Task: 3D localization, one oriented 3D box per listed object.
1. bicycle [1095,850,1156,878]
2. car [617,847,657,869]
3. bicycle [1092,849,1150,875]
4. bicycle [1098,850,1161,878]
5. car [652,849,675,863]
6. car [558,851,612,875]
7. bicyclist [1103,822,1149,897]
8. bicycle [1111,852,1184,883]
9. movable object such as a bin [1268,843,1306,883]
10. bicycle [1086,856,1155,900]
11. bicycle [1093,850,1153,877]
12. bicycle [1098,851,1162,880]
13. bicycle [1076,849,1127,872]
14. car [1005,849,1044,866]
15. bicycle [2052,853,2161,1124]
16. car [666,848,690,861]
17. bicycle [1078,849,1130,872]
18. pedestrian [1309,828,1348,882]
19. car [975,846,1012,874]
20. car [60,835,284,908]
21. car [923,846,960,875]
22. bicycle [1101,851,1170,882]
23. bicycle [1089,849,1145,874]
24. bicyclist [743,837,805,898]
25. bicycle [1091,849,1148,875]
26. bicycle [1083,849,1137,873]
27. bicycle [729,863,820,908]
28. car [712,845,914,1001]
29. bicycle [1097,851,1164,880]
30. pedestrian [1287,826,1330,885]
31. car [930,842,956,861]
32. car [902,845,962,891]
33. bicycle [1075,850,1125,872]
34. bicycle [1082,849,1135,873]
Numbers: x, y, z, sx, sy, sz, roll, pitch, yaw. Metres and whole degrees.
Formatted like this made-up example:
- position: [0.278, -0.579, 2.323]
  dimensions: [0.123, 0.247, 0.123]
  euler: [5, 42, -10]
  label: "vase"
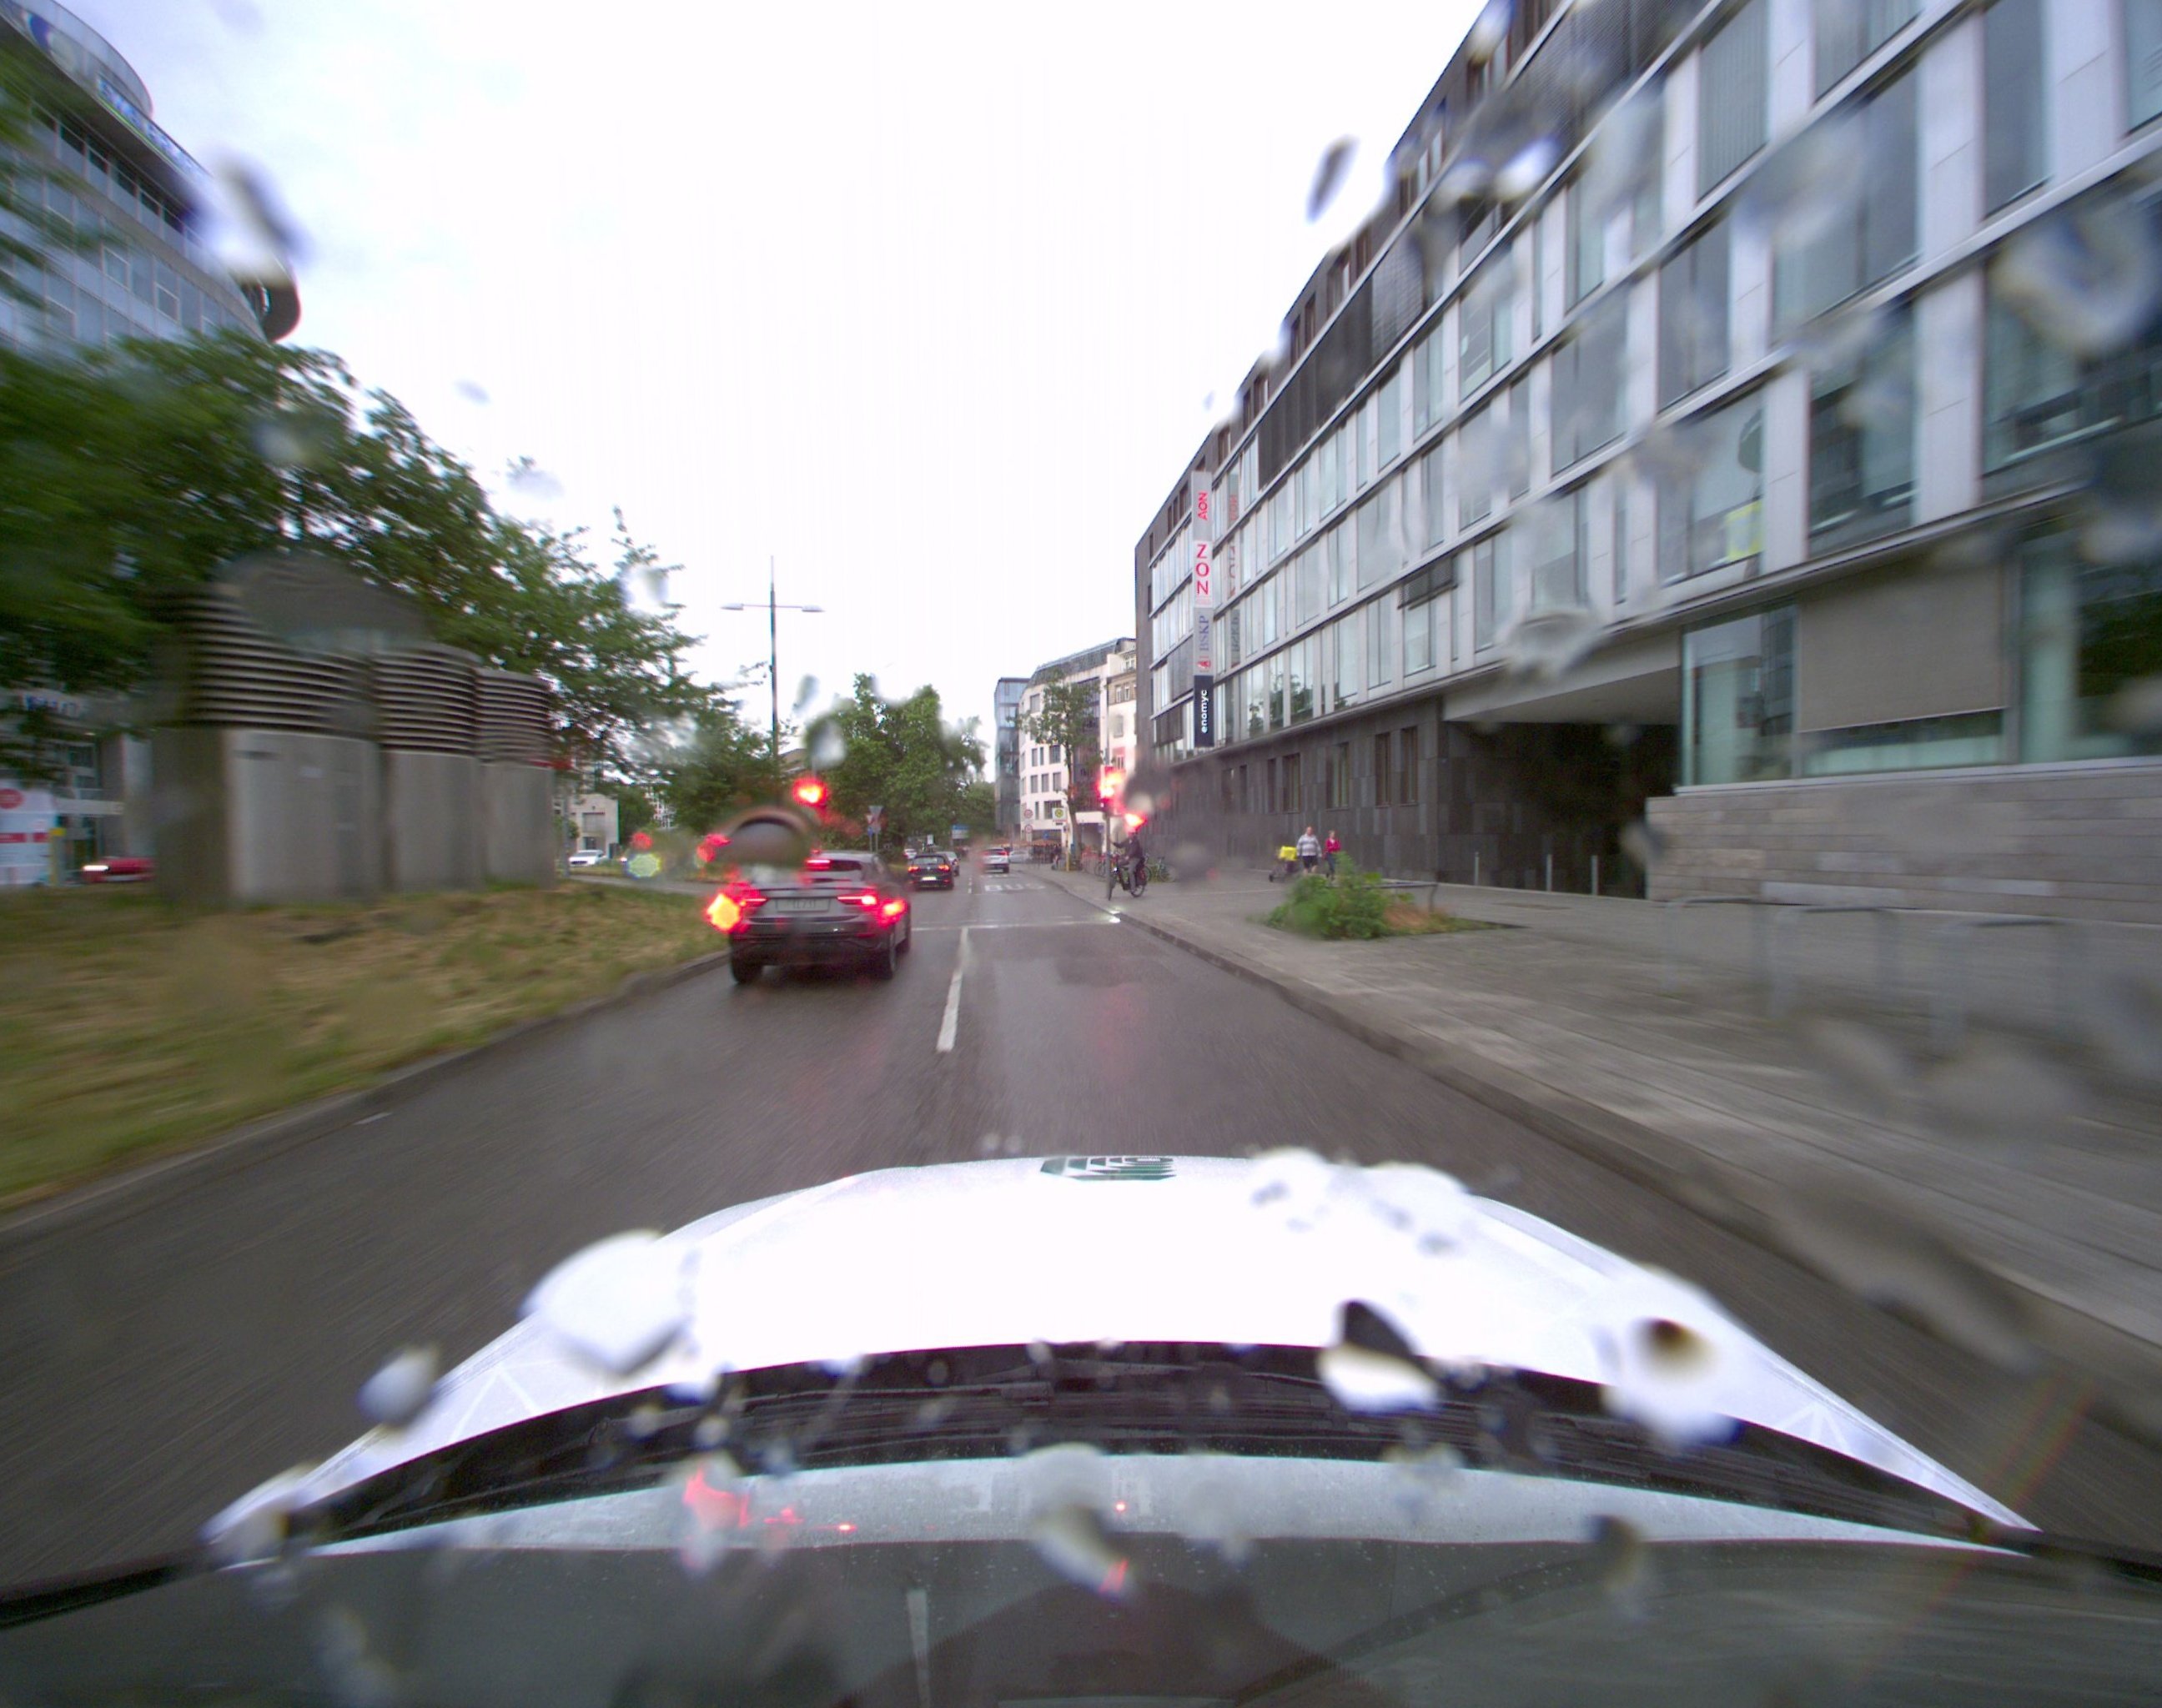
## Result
- position: [1.908, 0.413, 34.920]
  dimensions: [2.535, 1.087, 0.675]
  euler: [-2, 0, -10]
  label: "bicycle"
- position: [-37.259, 0.291, 68.438]
  dimensions: [1.727, 1.727, 4.562]
  euler: [-1, 0, -13]
  label: "car"
- position: [1.801, 0.350, 36.691]
  dimensions: [2.535, 1.087, 0.675]
  euler: [-2, 0, -10]
  label: "bicycle"
- position: [2.029, 0.420, 34.119]
  dimensions: [2.535, 1.087, 0.675]
  euler: [-2, 0, -10]
  label: "bicycle"
- position: [-44.594, 0.196, 87.002]
  dimensions: [1.812, 1.486, 3.970]
  euler: [1, 0, -23]
  label: "car"
- position: [-33.041, 0.552, 54.361]
  dimensions: [1.822, 1.475, 4.174]
  euler: [-1, 1, -13]
  label: "car"
- position: [1.284, 0.156, 23.201]
  dimensions: [0.753, 2.083, 1.092]
  euler: [-2, 0, 41]
  label: "bicyclist"
- position: [2.422, 0.485, 29.783]
  dimensions: [2.535, 1.057, 0.675]
  euler: [-2, 0, -10]
  label: "bicycle"
- position: [6.942, 0.287, 27.506]
  dimensions: [0.731, 1.264, 1.441]
  euler: [-3, 1, -7]
  label: "movable object such as a bin"
- position: [1.129, 0.646, 23.005]
  dimensions: [0.753, 1.145, 2.146]
  euler: [-2, 0, 41]
  label: "bicycle"
- position: [1.845, 0.410, 35.783]
  dimensions: [2.535, 1.060, 0.675]
  euler: [-2, 0, -10]
  label: "bicycle"
- position: [1.999, 0.446, 33.259]
  dimensions: [2.535, 1.087, 0.675]
  euler: [-2, 0, -10]
  label: "bicycle"
- position: [1.078, 0.319, 42.041]
  dimensions: [2.535, 1.087, 0.675]
  euler: [-2, 0, -10]
  label: "bicycle"
- position: [-6.216, 0.359, 89.362]
  dimensions: [3.986, 1.647, 1.994]
  euler: [3, 0, -10]
  label: "car"
- position: [5.766, 0.582, 3.756]
  dimensions: [1.831, 1.197, 0.660]
  euler: [-2, 1, -2]
  label: "bicycle"
- position: [-49.438, 0.022, 99.983]
  dimensions: [1.807, 1.486, 4.362]
  euler: [1, 0, -14]
  label: "car"
- position: [1.184, 0.309, 41.302]
  dimensions: [2.535, 1.087, 0.675]
  euler: [-2, 0, -10]
  label: "bicycle"
- position: [8.022, 0.030, 26.452]
  dimensions: [0.718, 1.690, 1.096]
  euler: [-3, 1, -10]
  label: "pedestrian"
- position: [-5.770, 0.363, 53.281]
  dimensions: [2.178, 1.700, 3.988]
  euler: [-1, 0, -9]
  label: "car"
- position: [-23.456, 0.401, 21.293]
  dimensions: [1.948, 1.700, 3.982]
  euler: [-1, 0, -13]
  label: "car"
- position: [-8.447, 0.334, 49.038]
  dimensions: [1.947, 1.646, 4.226]
  euler: [-1, 0, -13]
  label: "car"
- position: [2.079, 0.474, 31.233]
  dimensions: [2.535, 1.087, 0.675]
  euler: [-1, 0, -10]
  label: "bicycle"
- position: [1.709, 0.361, 38.862]
  dimensions: [2.535, 1.087, 0.675]
  euler: [-2, 0, -10]
  label: "bicycle"
- position: [-8.312, 0.356, 22.079]
  dimensions: [1.124, 1.582, 1.019]
  euler: [1, 0, 14]
  label: "bicyclist"
- position: [1.798, 0.367, 37.890]
  dimensions: [2.535, 1.087, 0.675]
  euler: [-2, 0, -10]
  label: "bicycle"
- position: [1.403, 0.342, 39.676]
  dimensions: [2.535, 1.087, 0.675]
  euler: [-2, 0, -10]
  label: "bicycle"
- position: [-8.288, 0.829, 22.072]
  dimensions: [2.046, 1.114, 1.016]
  euler: [2, 0, 14]
  label: "bicycle"
- position: [-3.282, 0.698, 10.827]
  dimensions: [1.847, 1.616, 4.240]
  euler: [0, 1, -9]
  label: "car"
- position: [1.938, 0.454, 32.026]
  dimensions: [2.535, 1.087, 0.675]
  euler: [1, 0, -10]
  label: "bicycle"
- position: [7.313, 0.043, 26.224]
  dimensions: [0.900, 1.791, 1.043]
  euler: [-3, 1, -10]
  label: "pedestrian"
- position: [-12.268, -0.228, 72.120]
  dimensions: [1.949, 1.646, 3.980]
  euler: [-1, 0, -15]
  label: "car"
- position: [-5.940, 0.511, 32.921]
  dimensions: [2.161, 1.706, 4.541]
  euler: [-1, 0, -8]
  label: "car"
- position: [0.986, 0.345, 42.757]
  dimensions: [2.535, 1.087, 0.625]
  euler: [-2, 0, -10]
  label: "bicycle"
- position: [1.379, 0.341, 40.428]
  dimensions: [2.535, 1.087, 0.675]
  euler: [-2, 0, -10]
  label: "bicycle"
